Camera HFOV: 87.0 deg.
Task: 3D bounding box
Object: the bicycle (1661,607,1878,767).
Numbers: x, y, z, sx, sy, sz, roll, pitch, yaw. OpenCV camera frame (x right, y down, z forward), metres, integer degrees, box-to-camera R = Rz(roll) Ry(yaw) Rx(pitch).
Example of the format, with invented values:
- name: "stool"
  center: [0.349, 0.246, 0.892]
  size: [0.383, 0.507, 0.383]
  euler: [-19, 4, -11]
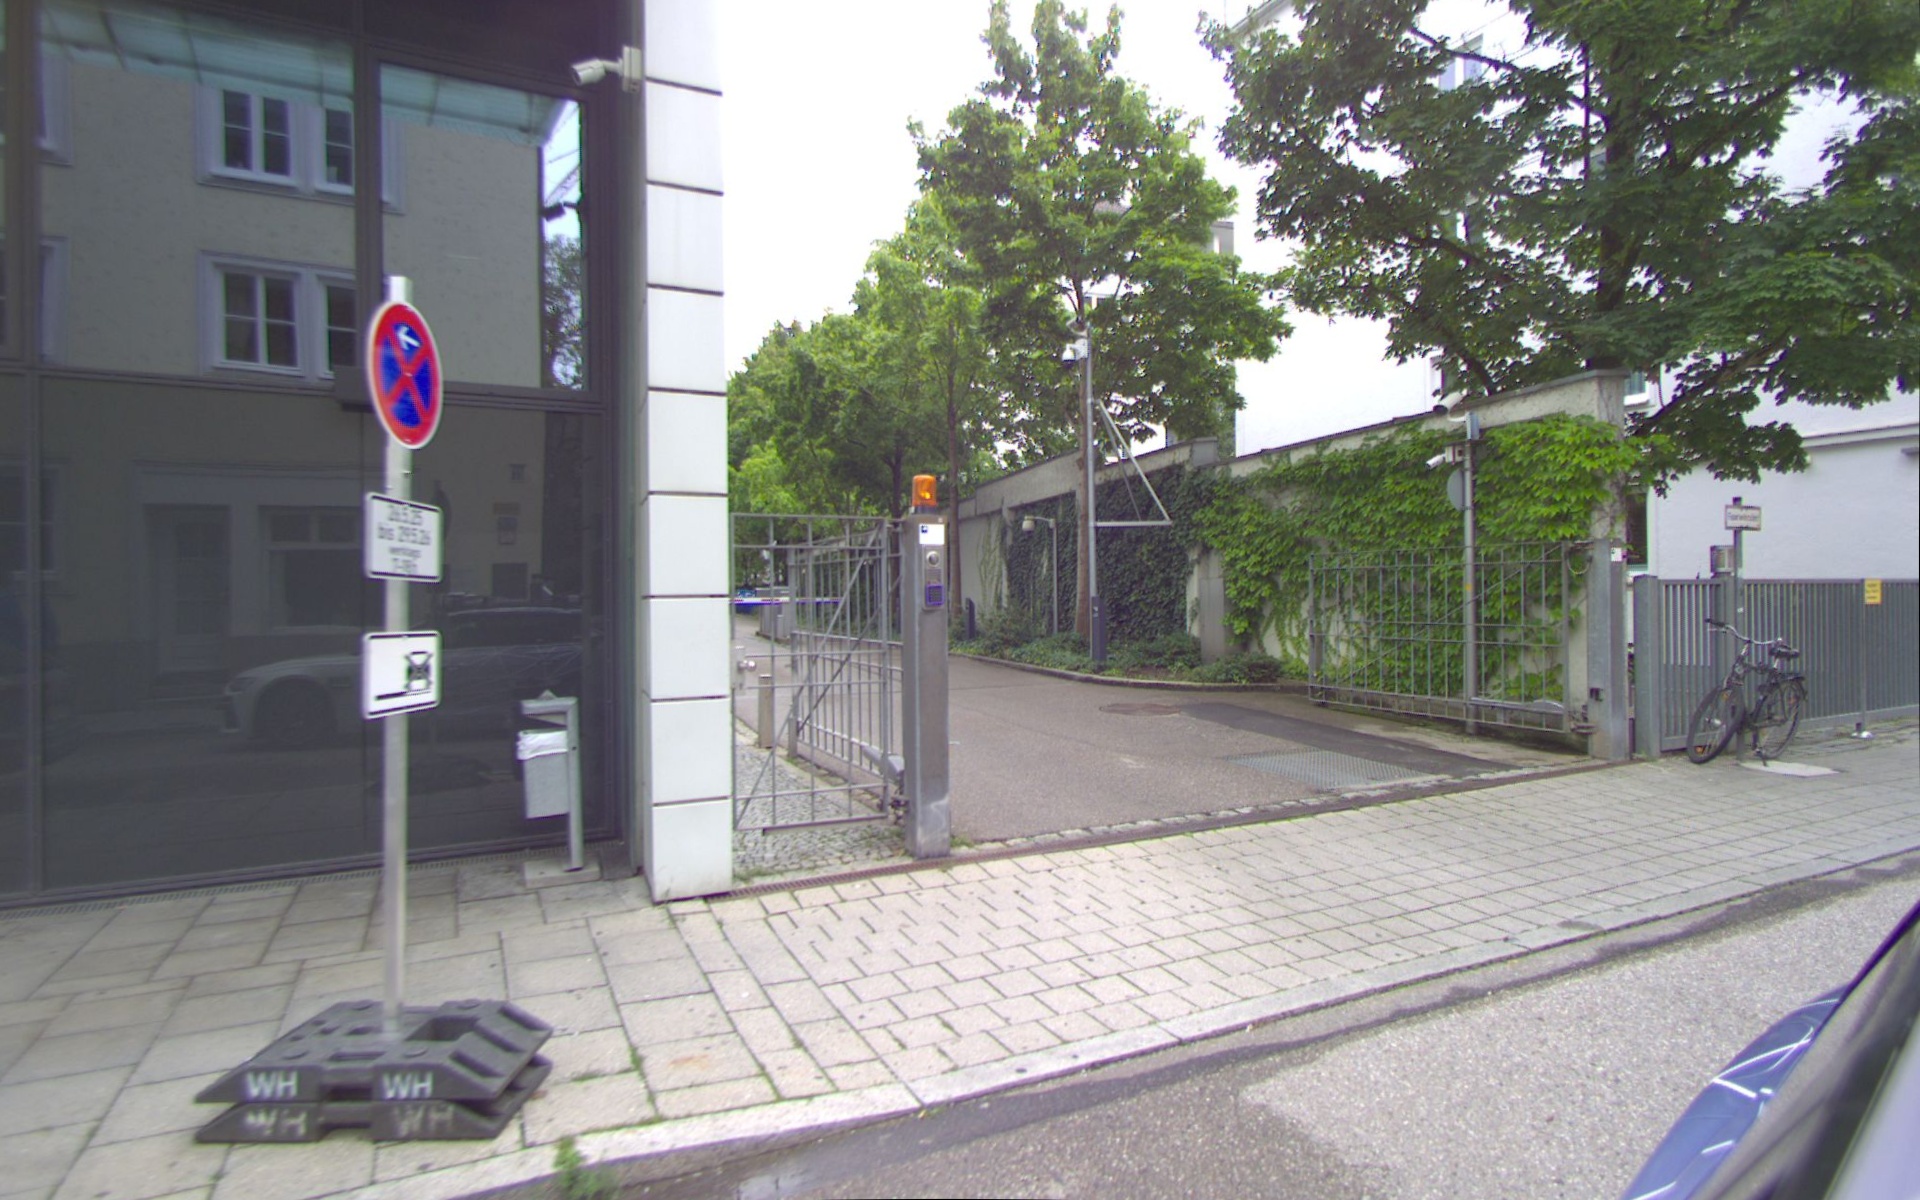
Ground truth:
- name: "bicycle"
  center: [6.775, 0.701, 8.459]
  size: [1.795, 1.214, 0.711]
  euler: [2, -1, -26]
